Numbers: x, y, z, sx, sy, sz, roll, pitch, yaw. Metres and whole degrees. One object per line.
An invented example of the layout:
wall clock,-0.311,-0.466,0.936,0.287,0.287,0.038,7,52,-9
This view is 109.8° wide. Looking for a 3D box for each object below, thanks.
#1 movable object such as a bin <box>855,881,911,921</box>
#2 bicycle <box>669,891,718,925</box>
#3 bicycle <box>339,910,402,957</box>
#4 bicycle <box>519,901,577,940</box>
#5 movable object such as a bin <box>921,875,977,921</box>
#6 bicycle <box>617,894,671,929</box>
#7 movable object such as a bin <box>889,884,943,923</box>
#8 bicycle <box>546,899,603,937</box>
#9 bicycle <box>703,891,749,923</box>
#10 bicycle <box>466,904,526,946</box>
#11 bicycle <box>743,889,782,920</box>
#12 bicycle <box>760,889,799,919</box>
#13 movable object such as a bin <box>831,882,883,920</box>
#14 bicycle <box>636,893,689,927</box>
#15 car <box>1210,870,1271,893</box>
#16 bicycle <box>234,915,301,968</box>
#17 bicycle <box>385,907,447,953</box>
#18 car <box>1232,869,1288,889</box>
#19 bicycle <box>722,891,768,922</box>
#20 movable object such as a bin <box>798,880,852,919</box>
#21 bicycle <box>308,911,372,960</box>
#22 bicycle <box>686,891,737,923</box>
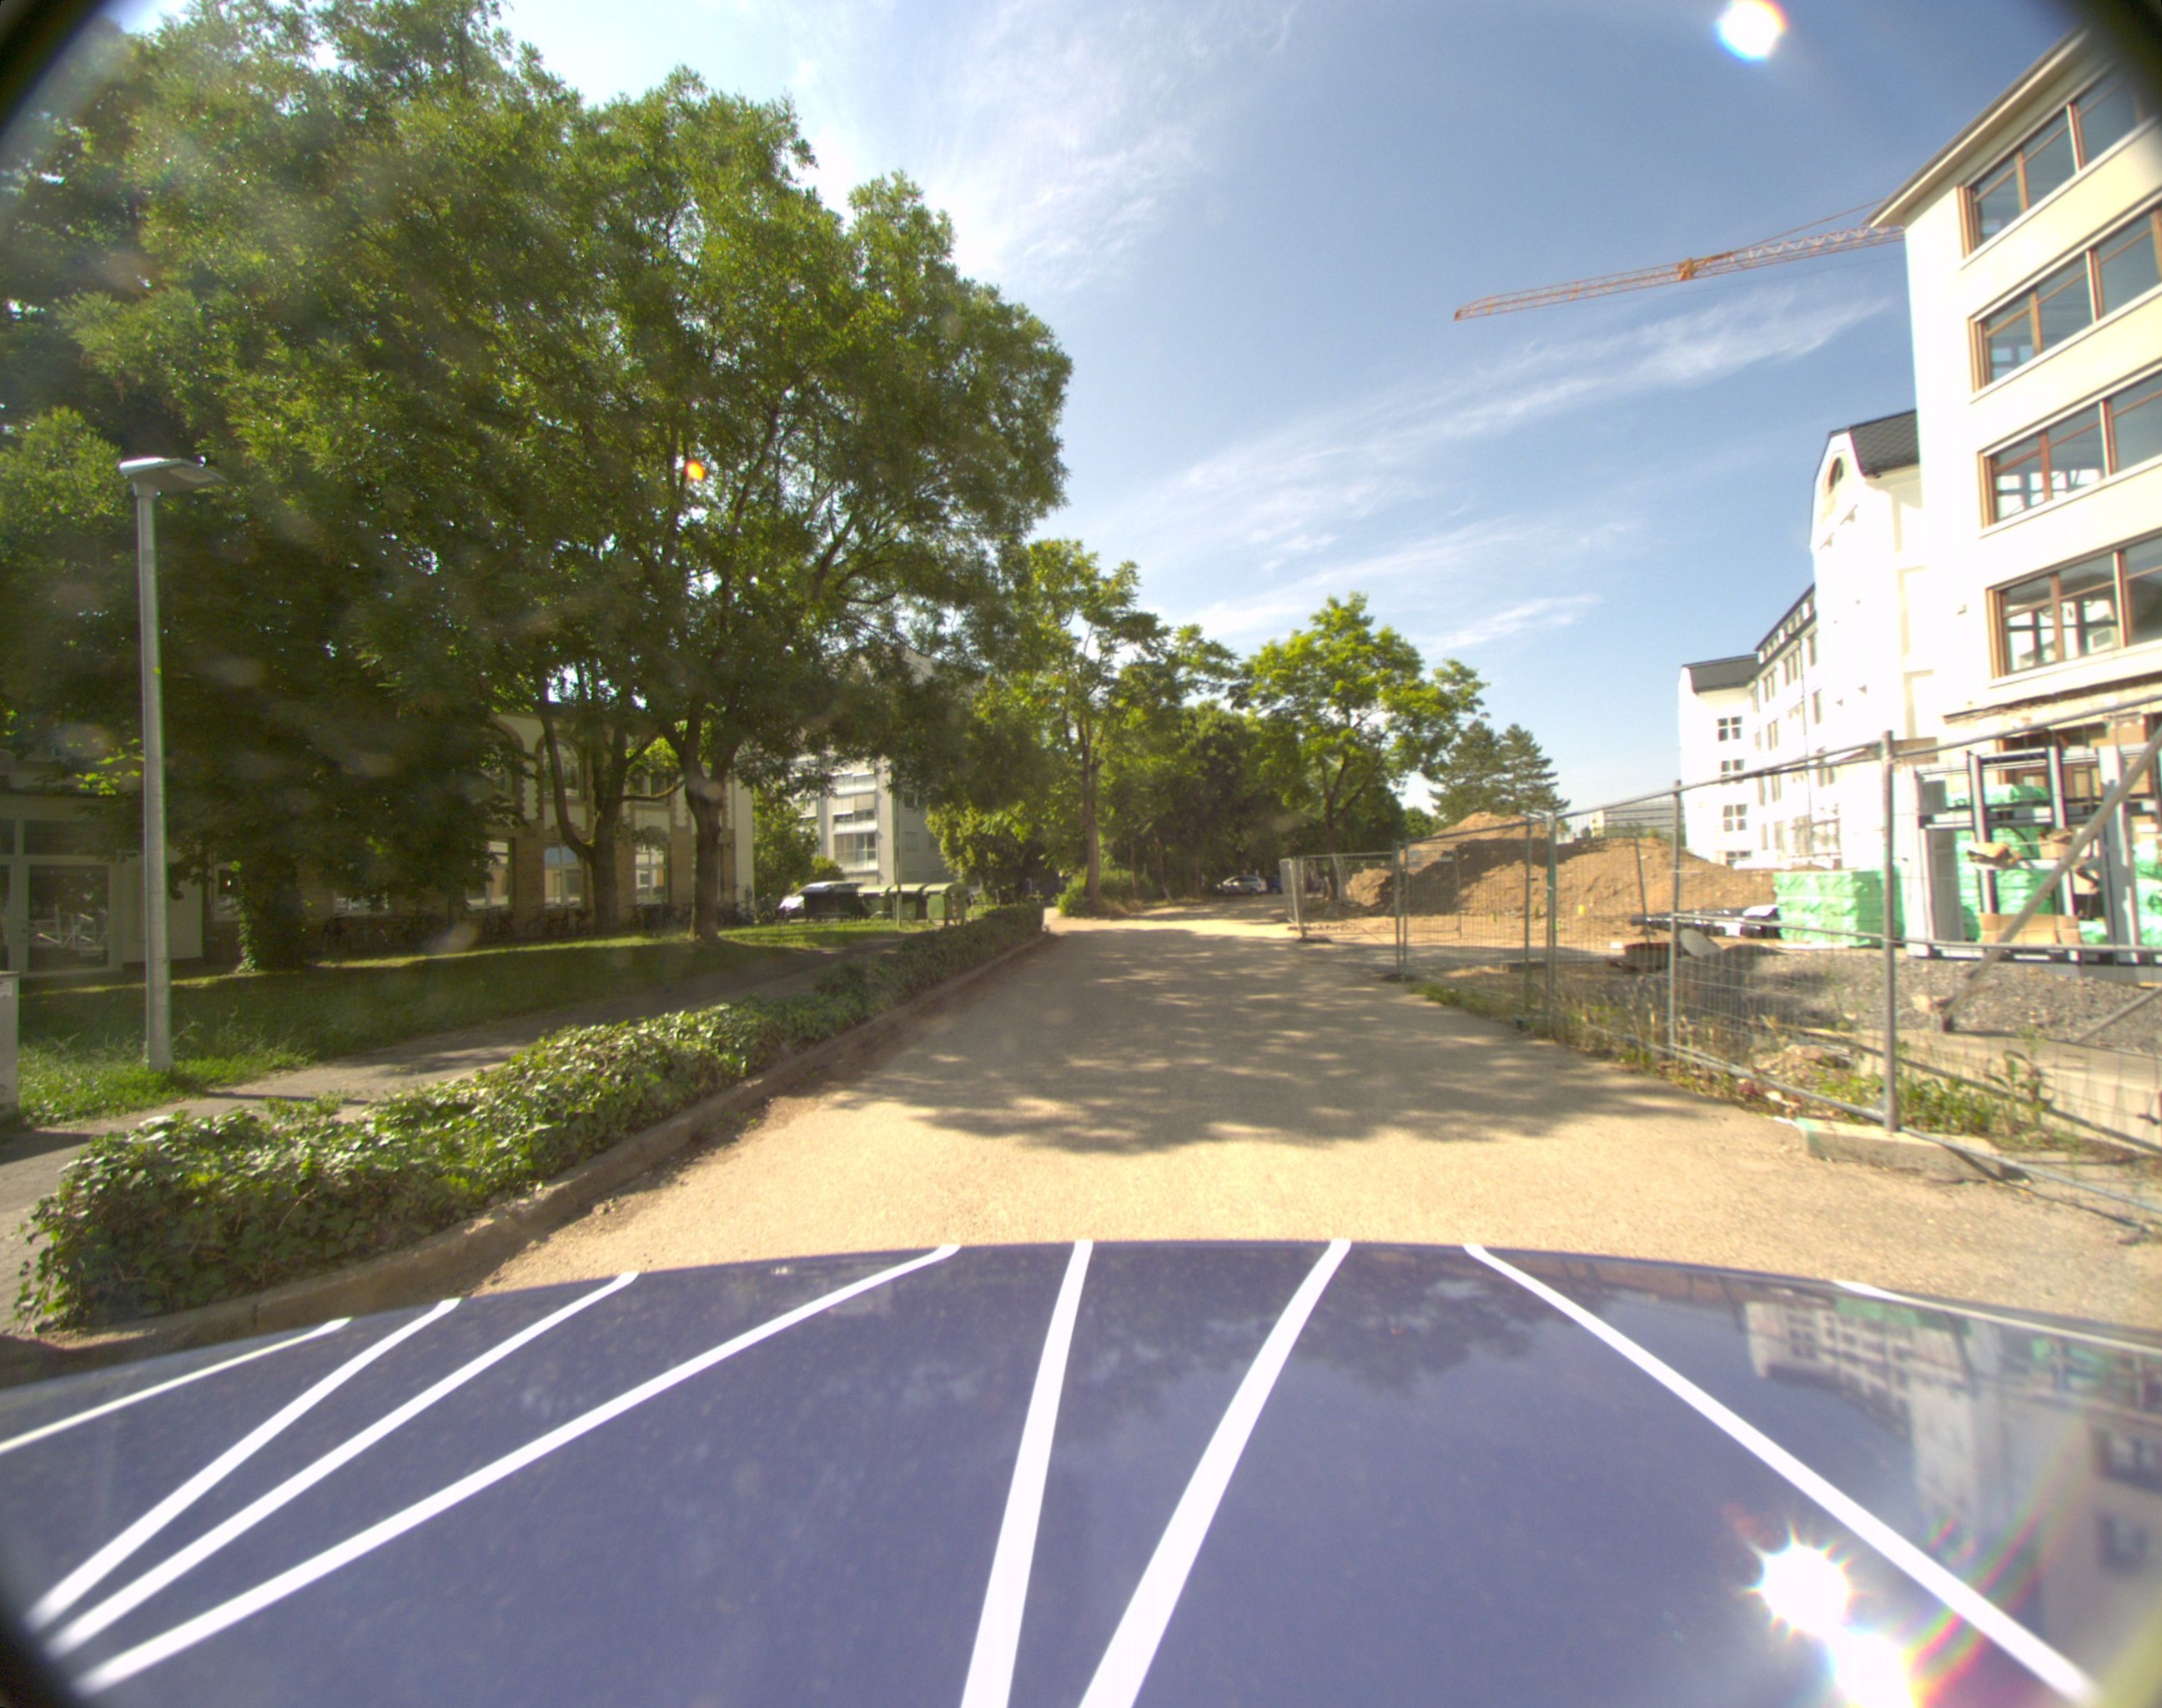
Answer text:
movable object such as a bin,-7.151,1.677,27.447,1.498,1.353,1.217,-3,-1,26
bicycle,-13.974,1.945,27.406,1.917,1.154,0.589,-3,-1,30
bicycle,-18.650,2.062,19.927,2.097,1.154,0.589,-3,-1,30
bicycle,-16.436,2.043,23.420,2.097,1.154,0.589,-3,-1,30
movable object such as a bin,-4.520,1.496,26.023,1.389,1.454,1.218,-3,-1,42
bicycle,-14.898,1.961,25.898,2.097,1.154,0.589,-3,-1,30
movable object such as a bin,-5.816,1.737,26.757,1.352,1.292,1.217,-3,-1,26
bicycle,-16.082,2.022,24.111,2.097,1.154,0.589,-3,-1,30
bicycle,-13.358,1.989,28.580,1.909,1.154,0.495,-3,-1,30
bicycle,-17.147,2.059,22.254,2.097,1.154,0.589,-3,-1,30
bicycle,-12.518,1.985,29.841,1.800,1.154,0.508,-3,-1,34
bicycle,-12.008,1.985,30.234,1.940,1.154,0.558,-3,-1,40
movable object such as a bin,-8.354,1.743,28.364,1.349,1.341,1.217,-3,-1,26
bicycle,-14.612,1.959,26.508,2.097,1.154,0.589,-3,-1,30
car,11.708,1.997,55.807,3.991,1.499,2.004,-3,-1,25
bicycle,-19.169,2.041,17.892,2.097,1.154,0.589,-3,-1,30
bicycle,-18.130,2.062,20.706,2.097,1.154,0.589,-3,-1,30
car,14.277,1.993,60.553,3.991,1.433,2.004,-3,-1,25
bicycle,-12.972,2.038,29.355,1.846,1.154,0.614,-3,-1,30
movable object such as a bin,-9.769,1.745,29.047,1.432,1.401,1.252,-3,-1,25
bicycle,-18.852,2.061,19.324,2.097,1.154,0.589,-3,-1,30
bicycle,-13.663,1.969,28.092,2.097,1.154,0.589,-3,-1,30
